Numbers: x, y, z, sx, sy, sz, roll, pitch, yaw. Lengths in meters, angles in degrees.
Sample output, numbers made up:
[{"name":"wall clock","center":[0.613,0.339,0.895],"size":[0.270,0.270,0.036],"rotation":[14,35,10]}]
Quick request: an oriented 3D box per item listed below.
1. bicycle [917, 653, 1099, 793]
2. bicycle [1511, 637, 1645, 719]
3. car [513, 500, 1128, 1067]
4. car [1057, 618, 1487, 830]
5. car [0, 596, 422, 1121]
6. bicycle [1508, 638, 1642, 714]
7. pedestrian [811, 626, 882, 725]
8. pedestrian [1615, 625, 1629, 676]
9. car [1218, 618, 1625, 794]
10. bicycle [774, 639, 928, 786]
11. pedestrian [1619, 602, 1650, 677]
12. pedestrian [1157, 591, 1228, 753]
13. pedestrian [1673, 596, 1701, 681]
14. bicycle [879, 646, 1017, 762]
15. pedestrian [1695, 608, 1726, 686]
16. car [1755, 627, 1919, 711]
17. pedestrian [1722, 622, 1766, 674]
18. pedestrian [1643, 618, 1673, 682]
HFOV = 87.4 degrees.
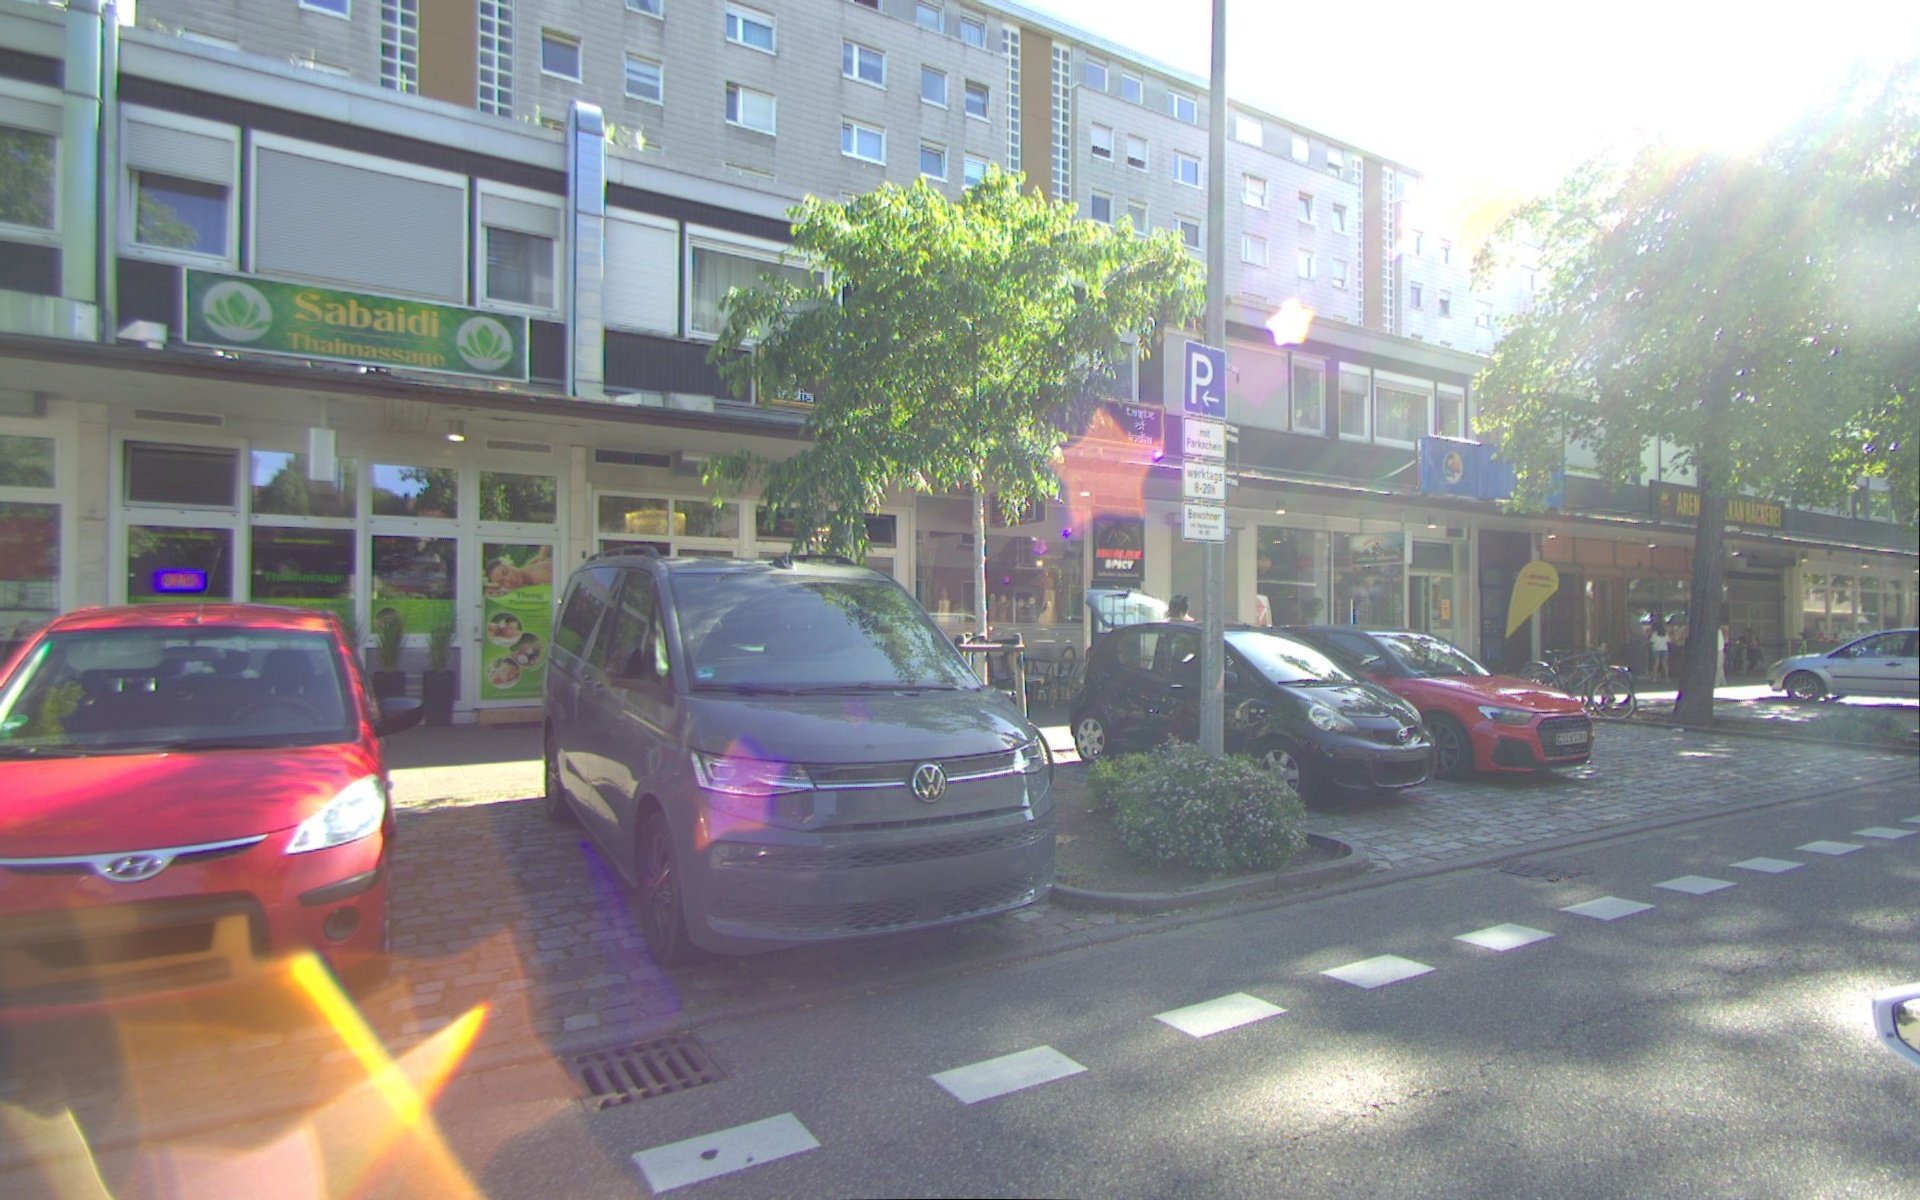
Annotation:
[{"name":"bicycle","center":[0.373,1.024,8.892],"size":[0.609,1.053,1.850],"rotation":[1,-2,-35]},{"name":"bicycle","center":[9.698,1.198,15.833],"size":[0.615,1.132,1.712],"rotation":[1,1,-27]},{"name":"car","center":[-1.349,0.633,6.109],"size":[1.852,1.964,5.003],"rotation":[1,0,-32]},{"name":"car","center":[2.663,0.945,9.320],"size":[1.596,1.470,3.645],"rotation":[1,0,-33]},{"name":"car","center":[-3.545,0.785,4.717],"size":[1.642,1.575,3.539],"rotation":[1,0,-31]},{"name":"bicycle","center":[10.249,1.234,16.816],"size":[0.579,1.121,1.861],"rotation":[1,1,-27]},{"name":"pedestrian","center":[-1.508,0.984,13.336],"size":[0.738,1.262,0.646],"rotation":[1,-1,-30]},{"name":"pedestrian","center":[16.736,1.271,25.385],"size":[0.212,1.261,0.211],"rotation":[1,0,-29]},{"name":"car","center":[4.755,0.982,10.980],"size":[1.686,1.470,3.907],"rotation":[1,0,-24]},{"name":"bicycle","center":[-1.091,0.976,9.503],"size":[0.790,1.183,2.230],"rotation":[1,-2,-25]},{"name":"pedestrian","center":[16.389,0.965,24.422],"size":[0.423,1.806,0.482],"rotation":[1,-2,-33]},{"name":"pedestrian","center":[2.545,0.776,11.052],"size":[0.622,1.735,0.581],"rotation":[0,-1,-2]},{"name":"pedestrian","center":[17.128,0.901,23.659],"size":[0.357,1.960,0.389],"rotation":[1,0,-29]},{"name":"bicycle","center":[-0.171,1.022,10.417],"size":[0.608,1.053,1.853],"rotation":[1,-2,-30]},{"name":"pedestrian","center":[17.038,1.060,22.805],"size":[0.496,1.728,0.389],"rotation":[1,0,-29]},{"name":"car","center":[17.552,1.252,18.681],"size":[1.839,1.476,3.967],"rotation":[1,-1,-31]},{"name":"pedestrian","center":[20.976,1.278,26.875],"size":[0.696,1.348,0.718],"rotation":[1,0,-33]},{"name":"pedestrian","center":[16.468,1.167,23.698],"size":[0.416,1.492,0.465],"rotation":[1,-2,-33]}]
